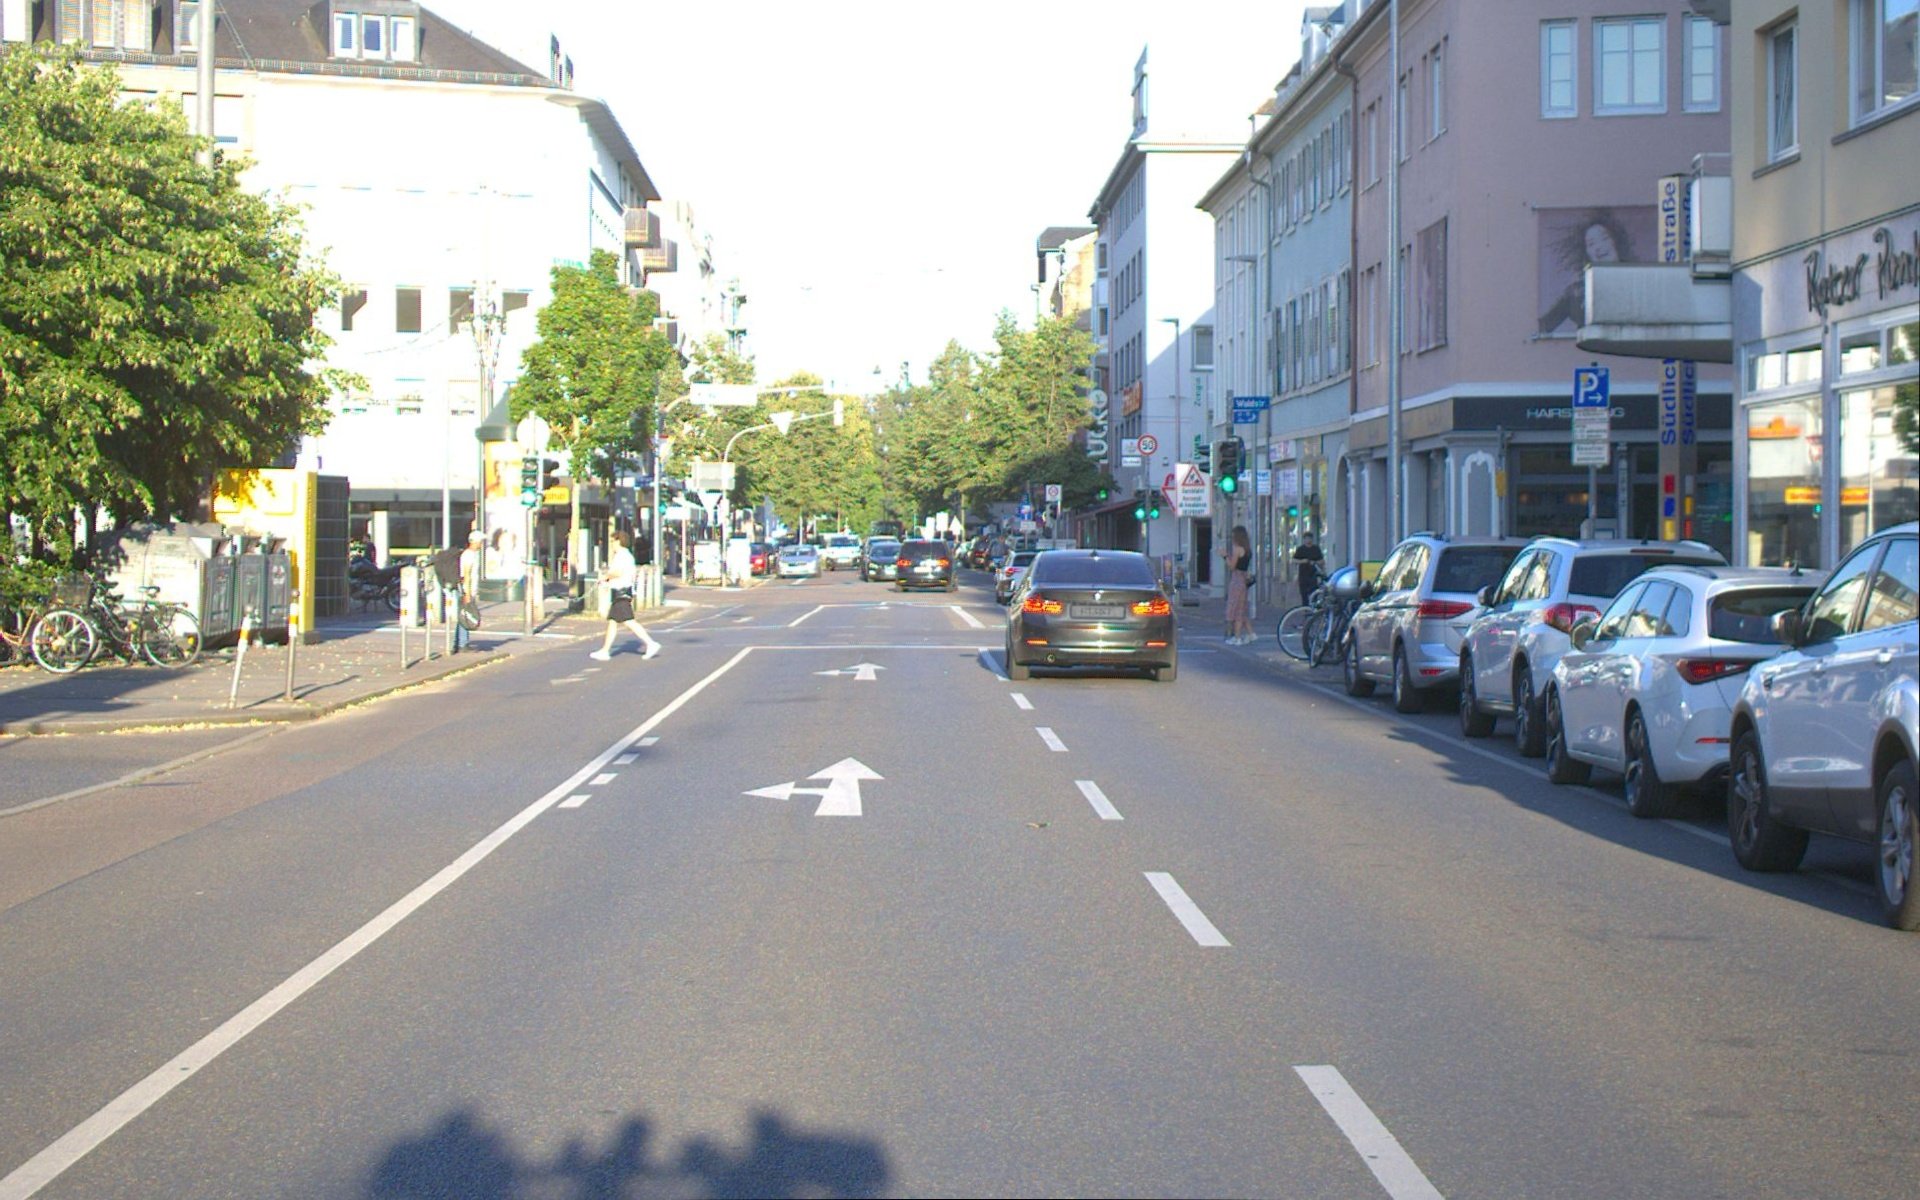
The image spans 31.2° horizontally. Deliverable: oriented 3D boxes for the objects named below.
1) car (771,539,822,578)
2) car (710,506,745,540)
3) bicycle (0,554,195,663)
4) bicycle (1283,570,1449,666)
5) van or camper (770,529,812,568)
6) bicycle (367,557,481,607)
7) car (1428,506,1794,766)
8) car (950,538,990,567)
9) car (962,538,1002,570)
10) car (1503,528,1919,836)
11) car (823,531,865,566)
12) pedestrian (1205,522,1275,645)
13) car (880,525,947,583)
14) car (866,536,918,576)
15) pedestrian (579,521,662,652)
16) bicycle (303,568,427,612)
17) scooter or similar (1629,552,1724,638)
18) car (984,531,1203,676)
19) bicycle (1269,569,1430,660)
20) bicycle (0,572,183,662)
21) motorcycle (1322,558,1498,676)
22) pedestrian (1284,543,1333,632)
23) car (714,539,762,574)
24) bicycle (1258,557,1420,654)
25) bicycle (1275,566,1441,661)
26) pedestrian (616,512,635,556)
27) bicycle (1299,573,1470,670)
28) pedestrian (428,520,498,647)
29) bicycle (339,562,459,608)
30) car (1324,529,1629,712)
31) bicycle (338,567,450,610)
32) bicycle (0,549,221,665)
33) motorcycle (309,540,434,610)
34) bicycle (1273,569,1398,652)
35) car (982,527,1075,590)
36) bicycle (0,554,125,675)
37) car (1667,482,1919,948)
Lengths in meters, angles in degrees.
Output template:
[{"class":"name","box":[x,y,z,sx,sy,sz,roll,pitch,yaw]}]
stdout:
[{"class":"car","box":[-6.922,-1.770,145.812,1.894,1.590,4.000,1,1,1]},{"class":"car","box":[-13.874,-4.578,205.380,1.828,2.007,3.676,1,1,1]},{"class":"bicycle","box":[-10.132,0.092,39.793,2.430,1.233,0.462,1,1,-2]},{"class":"bicycle","box":[4.815,0.214,40.848,1.884,1.108,0.521,1,1,-4]},{"class":"van or camper","box":[-10.638,-3.250,216.187,2.472,2.397,4.001,1,1,-5]},{"class":"bicycle","box":[-12.275,-0.420,78.786,2.523,1.142,0.701,0,1,-3]},{"class":"car","box":[4.883,0.196,26.415,1.867,1.756,4.409,0,2,-1]},{"class":"car","box":[0.538,-2.644,190.216,1.894,1.590,4.001,1,1,-4]},{"class":"car","box":[1.131,-2.375,177.263,1.780,1.590,3.635,1,1,-4]},{"class":"car","box":[4.700,0.391,20.811,2.015,1.538,4.870,0,2,0]},{"class":"car","box":[-6.064,-2.706,180.055,1.993,1.744,4.000,1,1,1]},{"class":"pedestrian","box":[3.944,-0.240,48.487,0.794,1.714,0.812,1,1,-8]},{"class":"car","box":[-1.409,-1.423,105.148,1.993,1.744,4.000,1,1,-1]},{"class":"car","box":[-2.578,-1.678,131.084,1.885,1.481,4.000,1,1,1]},{"class":"pedestrian","box":[-4.482,-0.183,45.342,0.868,1.714,0.760,0,1,-25]},{"class":"bicycle","box":[-12.574,-0.215,72.653,2.523,0.916,0.701,0,1,-3]},{"class":"scooter or similar","box":[10.809,-0.082,51.836,1.318,1.260,0.523,1,1,21]},{"class":"car","box":[1.397,-0.005,37.761,1.888,1.487,4.205,1,1,-5]},{"class":"bicycle","box":[4.877,0.177,43.151,1.884,1.108,0.762,1,1,-4]},{"class":"bicycle","box":[-10.235,0.195,40.380,2.043,0.967,0.636,2,1,-3]},{"class":"motorcycle","box":[4.963,0.177,37.989,1.812,1.259,0.716,-1,1,-3]},{"class":"pedestrian","box":[7.001,-0.258,69.106,0.757,1.771,1.049,1,1,-5]},{"class":"car","box":[-10.189,-2.012,158.305,1.894,1.590,4.000,1,1,1]},{"class":"bicycle","box":[4.663,0.064,42.338,1.884,1.163,0.723,0,1,-4]},{"class":"bicycle","box":[4.785,0.164,41.388,1.884,1.108,0.602,1,1,-3]},{"class":"pedestrian","box":[-13.144,-2.591,135.147,0.684,1.715,0.702,1,1,0]},{"class":"bicycle","box":[4.939,0.253,40.016,1.884,1.109,0.593,1,-1,-4]},{"class":"pedestrian","box":[-6.791,-0.226,46.925,0.881,1.714,0.715,0,1,-12]},{"class":"bicycle","box":[-12.413,-0.328,76.107,2.523,0.994,0.934,0,1,-3]},{"class":"car","box":[4.796,0.139,32.629,1.993,1.607,4.804,0,1,-2]},{"class":"bicycle","box":[-12.172,-0.252,73.998,2.327,0.916,0.701,0,1,-3]},{"class":"bicycle","box":[-9.691,0.081,39.114,2.430,1.233,0.518,2,1,-3]},{"class":"motorcycle","box":[-12.121,-0.518,70.840,2.413,1.421,1.113,0,1,-1]},{"class":"bicycle","box":[4.779,0.126,43.752,1.500,1.022,0.512,-1,1,-5]},{"class":"car","box":[1.781,-1.116,91.260,2.334,1.598,3.894,1,1,-1]},{"class":"bicycle","box":[-10.438,0.140,37.597,2.506,1.279,0.815,1,1,20]},{"class":"car","box":[4.559,0.377,15.016,1.882,1.739,4.660,0,2,-1]}]
